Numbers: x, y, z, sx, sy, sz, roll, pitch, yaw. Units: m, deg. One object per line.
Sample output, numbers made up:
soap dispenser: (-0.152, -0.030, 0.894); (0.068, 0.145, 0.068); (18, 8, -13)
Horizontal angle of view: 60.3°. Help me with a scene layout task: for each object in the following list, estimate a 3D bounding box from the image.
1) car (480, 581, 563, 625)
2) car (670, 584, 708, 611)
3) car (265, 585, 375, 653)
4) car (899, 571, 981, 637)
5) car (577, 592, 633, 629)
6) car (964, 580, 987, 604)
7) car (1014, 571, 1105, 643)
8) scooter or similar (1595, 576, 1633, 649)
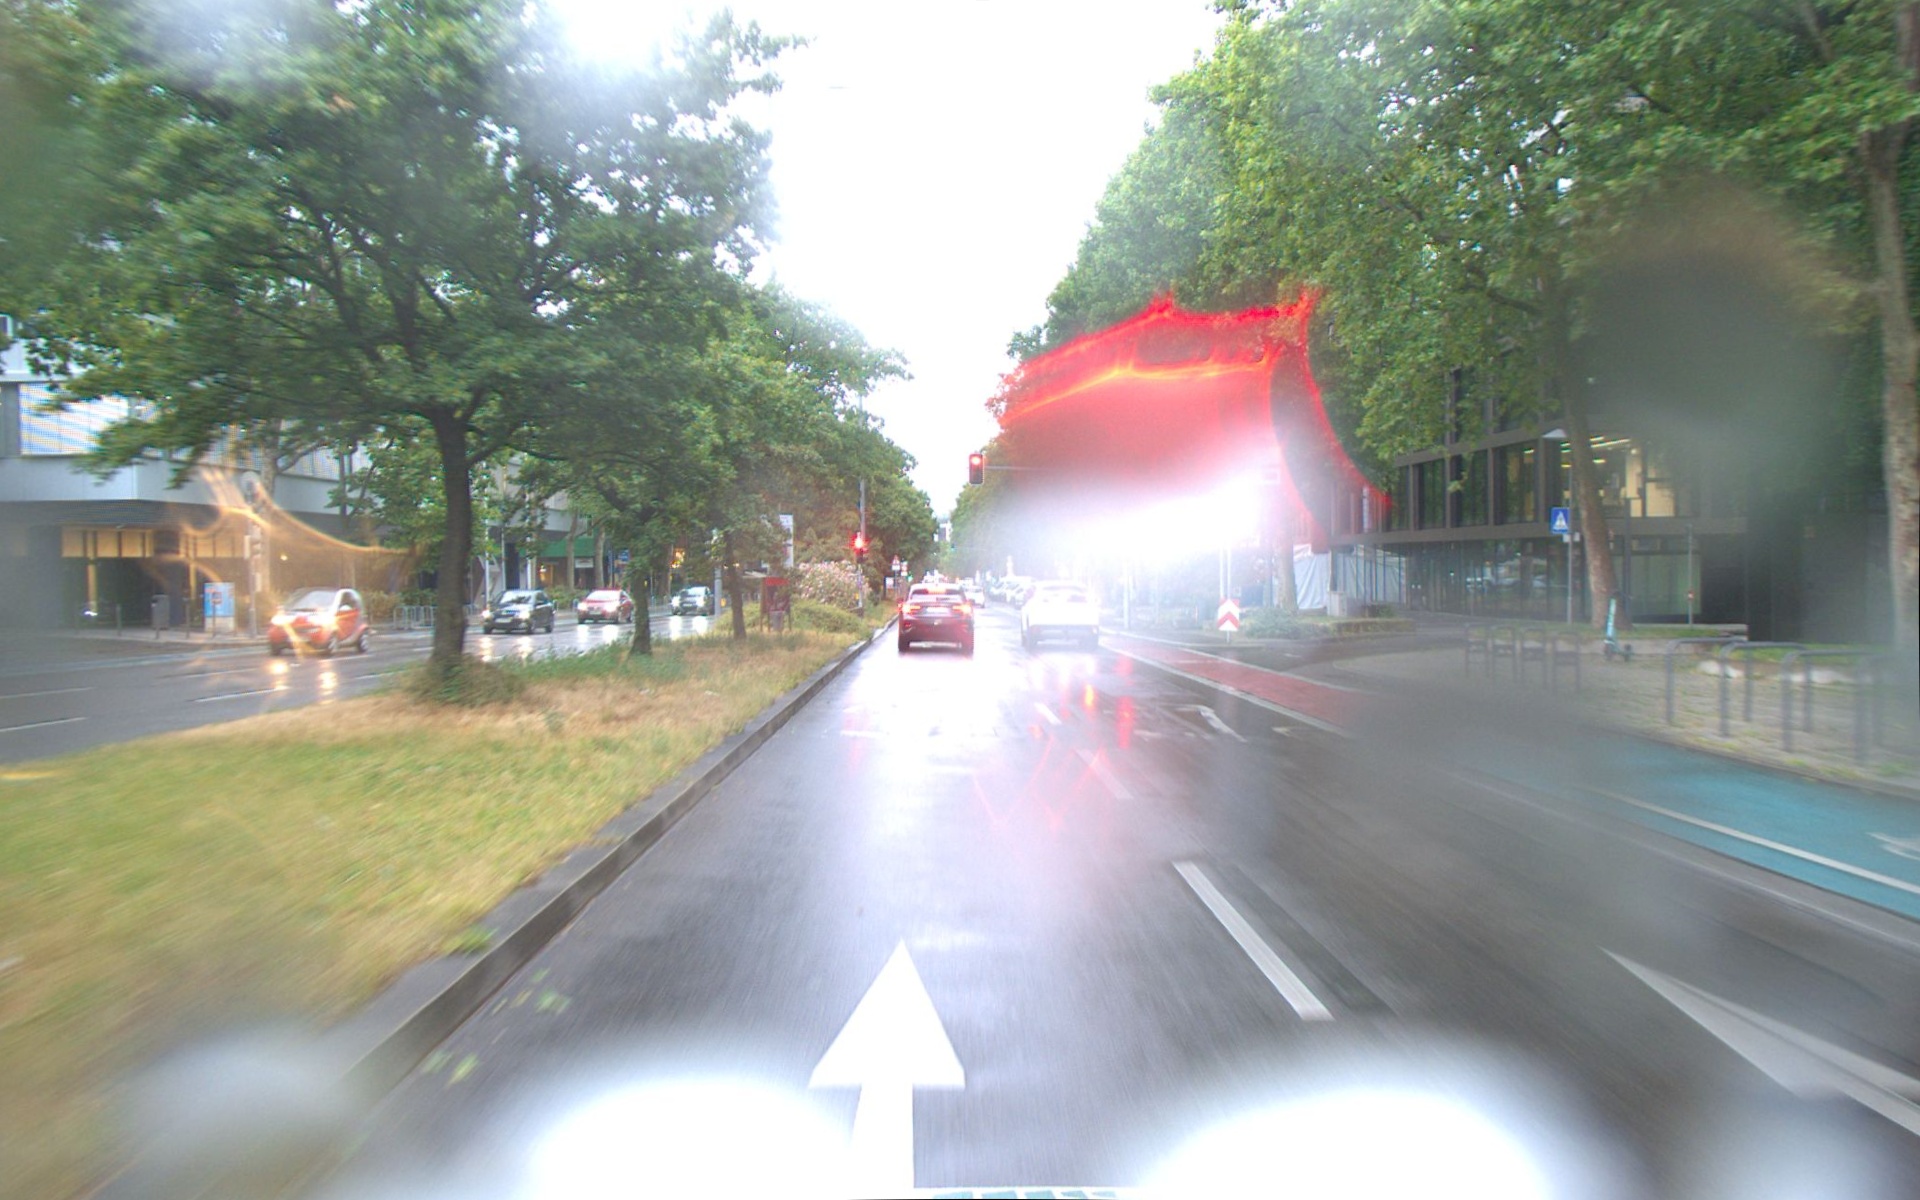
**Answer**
car: (-14.774, 0.086, 55.964); (1.806, 1.413, 3.999); (-1, 1, -1)
car: (-15.129, -0.105, 92.465); (1.582, 1.418, 3.596); (0, -1, -1)
car: (-14.908, 0.419, 38.646); (1.463, 1.489, 2.732); (-1, 1, 0)
car: (-0.499, 0.061, 40.272); (1.879, 1.517, 3.999); (-1, 1, -1)
car: (-15.107, 0.421, 70.597); (1.582, 1.418, 4.183); (-1, 1, -1)
car: (1.134, -0.607, 122.024); (1.587, 1.695, 3.999); (-1, 1, -1)
car: (2.507, 0.126, 42.781); (1.953, 1.684, 4.888); (-1, 1, -1)
scooter or similar: (11.485, 0.215, 29.034); (0.374, 1.249, 1.075); (0, 1, 35)
